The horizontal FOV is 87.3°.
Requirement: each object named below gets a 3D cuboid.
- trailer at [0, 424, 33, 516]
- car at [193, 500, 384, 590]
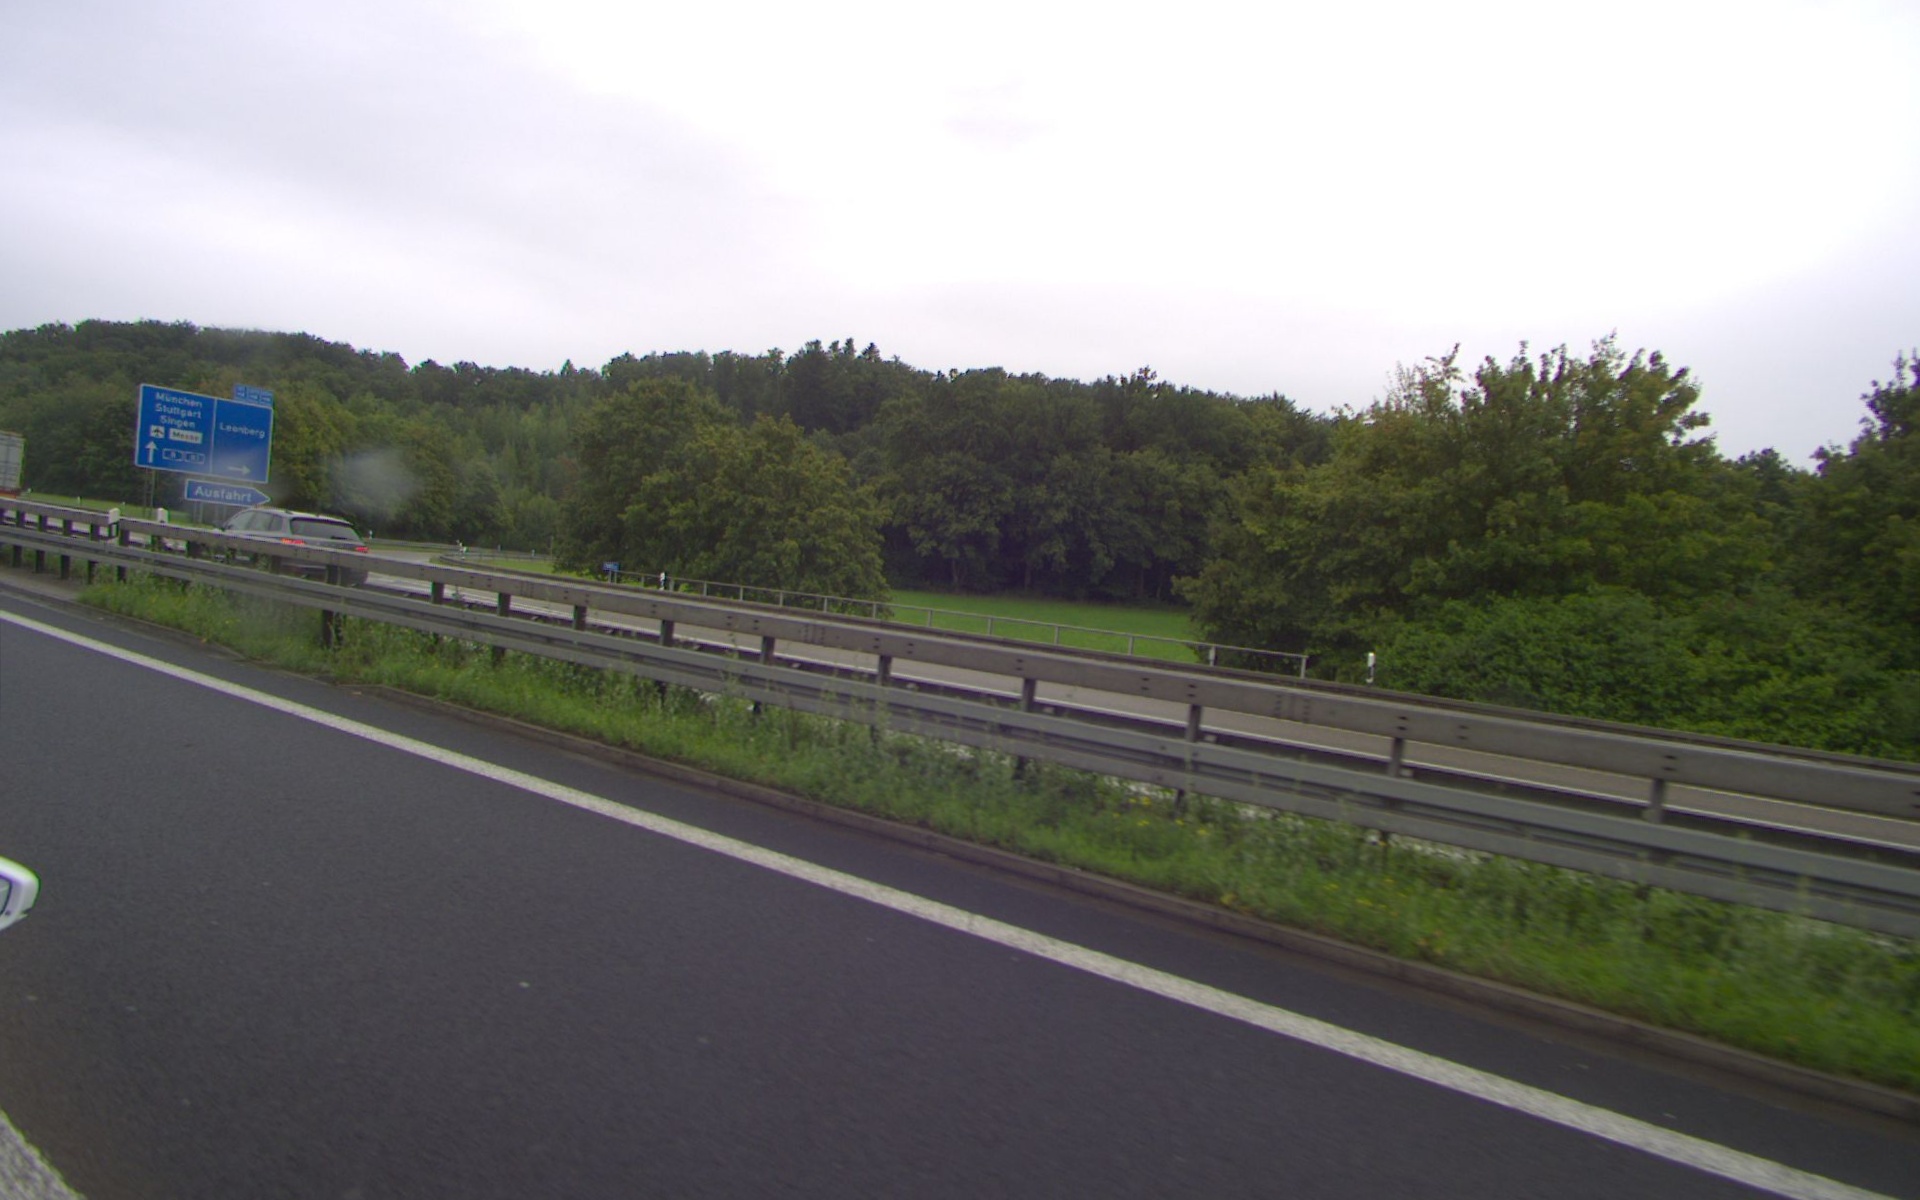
[{"bbox_3d":[-47.692,-6.387,47.603,12.290,3.942,2.606,6,0,34],"label":"trailer"},{"bbox_3d":[-13.602,-1.126,20.314,4.058,1.400,1.667,6,1,32],"label":"car"}]
